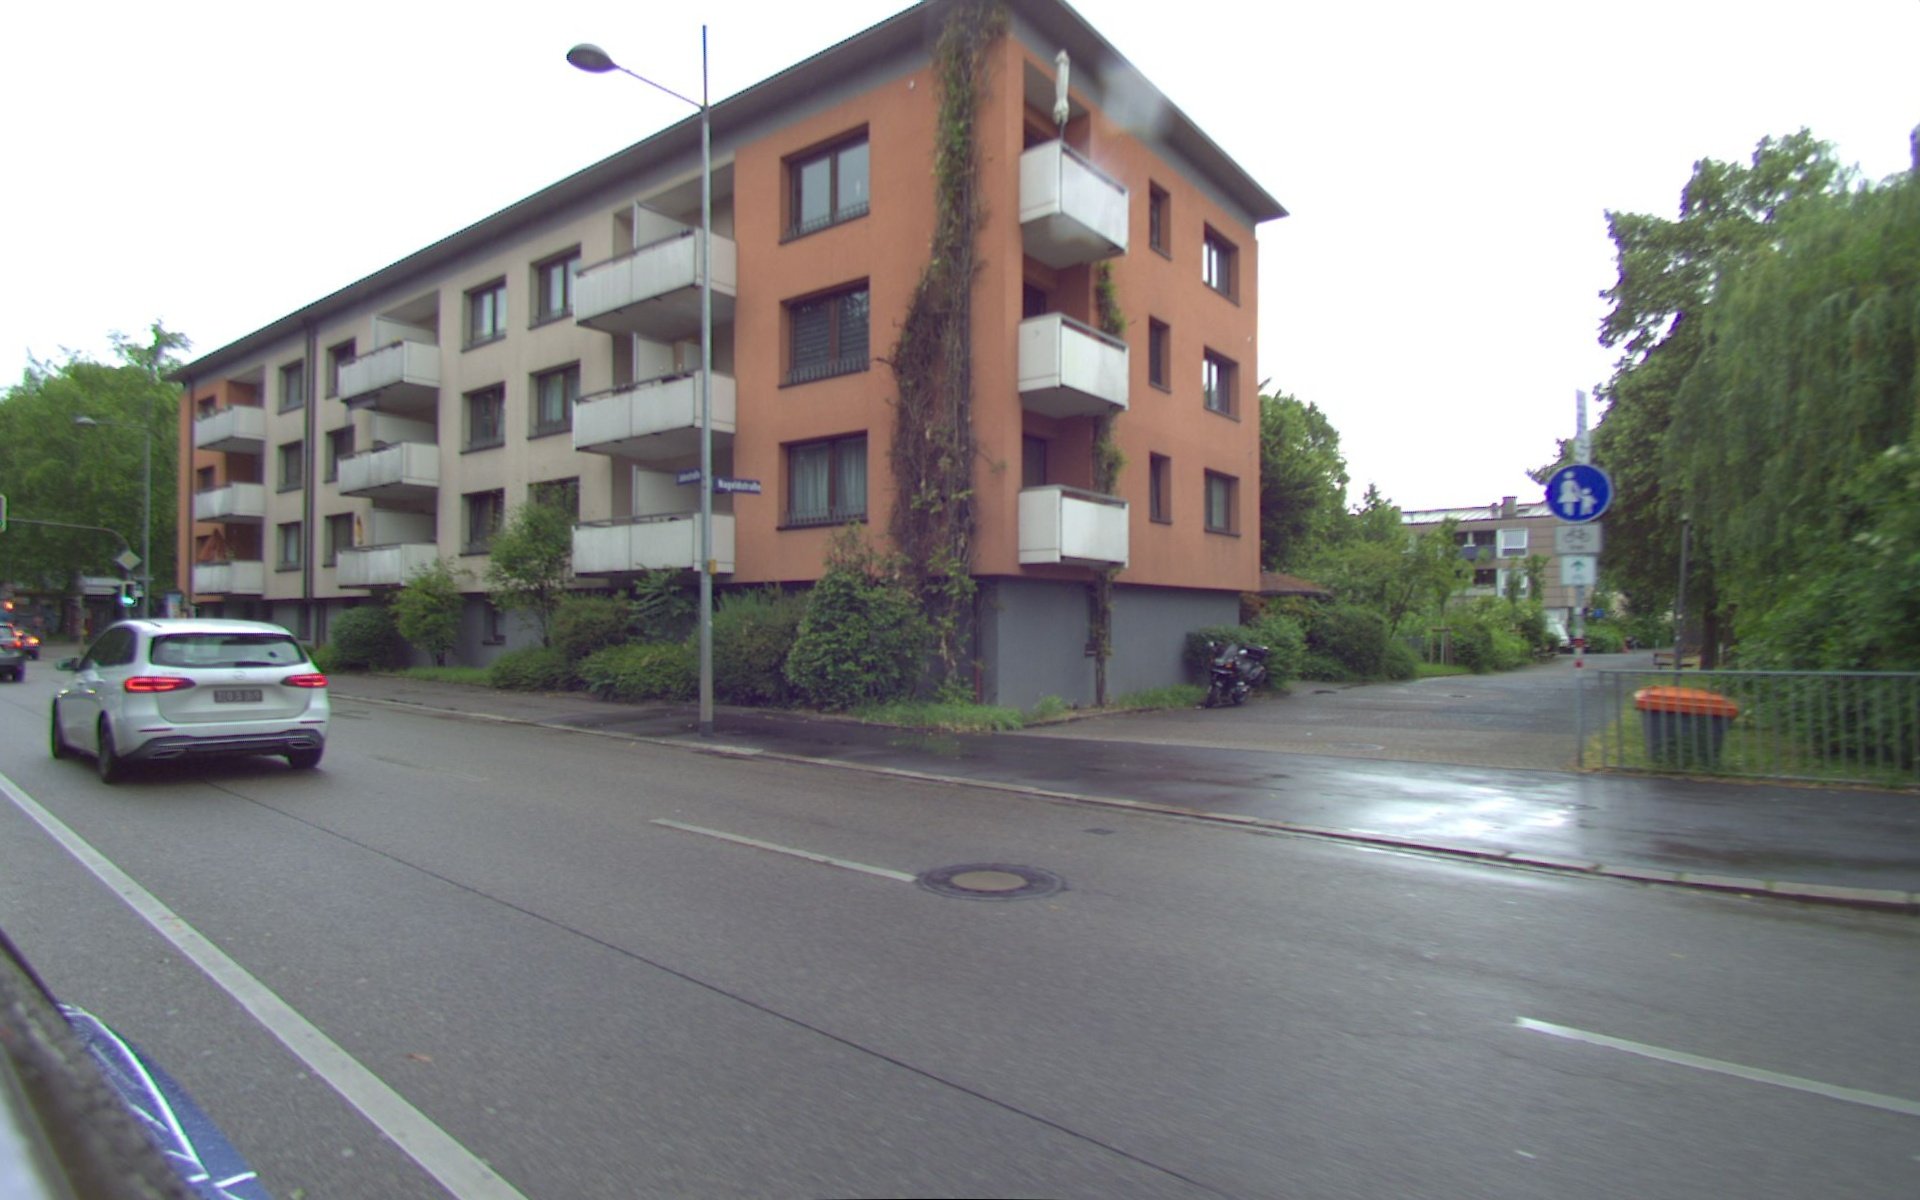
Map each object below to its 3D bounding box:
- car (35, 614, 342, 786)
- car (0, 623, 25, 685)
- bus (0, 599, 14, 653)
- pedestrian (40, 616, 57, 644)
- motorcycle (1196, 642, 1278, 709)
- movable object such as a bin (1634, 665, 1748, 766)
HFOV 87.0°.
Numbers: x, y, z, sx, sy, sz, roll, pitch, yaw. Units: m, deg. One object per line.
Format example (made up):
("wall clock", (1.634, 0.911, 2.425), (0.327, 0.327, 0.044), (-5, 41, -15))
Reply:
("car", (-8.349, 0.955, 10.825), (4.164, 1.485, 1.763), (-2, -3, 41))
("car", (-26.498, 1.423, 26.944), (4.228, 1.591, 1.795), (-2, -3, 40))
("bus", (-57.580, 1.441, 58.711), (12.078, 2.962, 2.665), (-1, -2, 41))
("pedestrian", (-61.192, 2.012, 67.930), (0.687, 1.782, 0.702), (-1, 1, 41))
("motorcycle", (5.630, 1.497, 20.453), (0.780, 1.273, 2.371), (-3, -4, 36))
("movable object such as a bin", (7.246, 1.115, 10.024), (0.832, 0.883, 0.955), (-1, -2, 41))
